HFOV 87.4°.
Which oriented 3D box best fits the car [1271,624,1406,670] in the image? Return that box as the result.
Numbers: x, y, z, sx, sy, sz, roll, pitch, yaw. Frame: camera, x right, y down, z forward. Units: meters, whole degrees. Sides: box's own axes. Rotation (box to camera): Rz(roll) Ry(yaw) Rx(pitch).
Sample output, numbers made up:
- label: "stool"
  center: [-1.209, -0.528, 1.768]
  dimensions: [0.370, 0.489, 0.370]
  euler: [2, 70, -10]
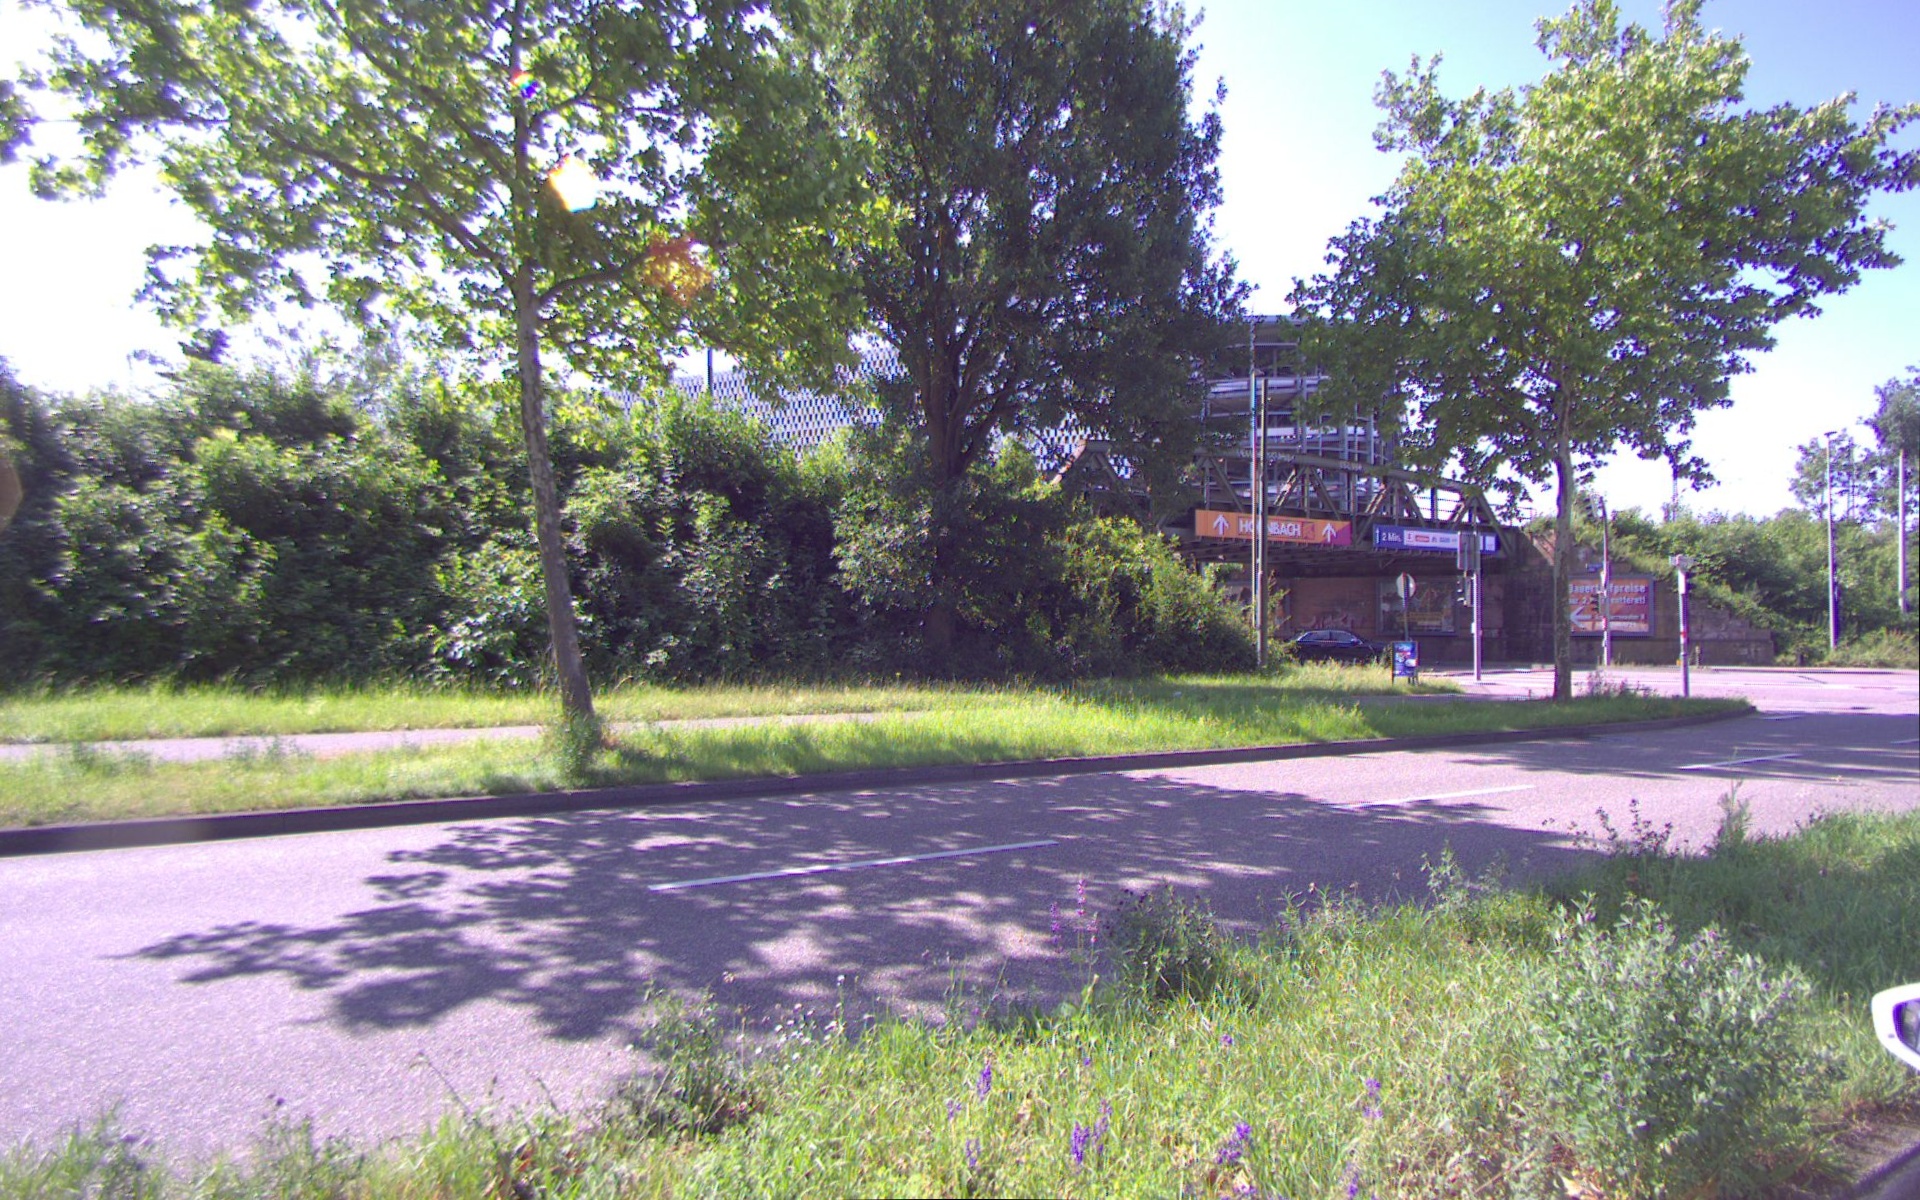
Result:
- label: "car"
  center: [15.064, 1.851, 40.056]
  dimensions: [4.956, 1.617, 1.526]
  euler: [1, 0, 24]
